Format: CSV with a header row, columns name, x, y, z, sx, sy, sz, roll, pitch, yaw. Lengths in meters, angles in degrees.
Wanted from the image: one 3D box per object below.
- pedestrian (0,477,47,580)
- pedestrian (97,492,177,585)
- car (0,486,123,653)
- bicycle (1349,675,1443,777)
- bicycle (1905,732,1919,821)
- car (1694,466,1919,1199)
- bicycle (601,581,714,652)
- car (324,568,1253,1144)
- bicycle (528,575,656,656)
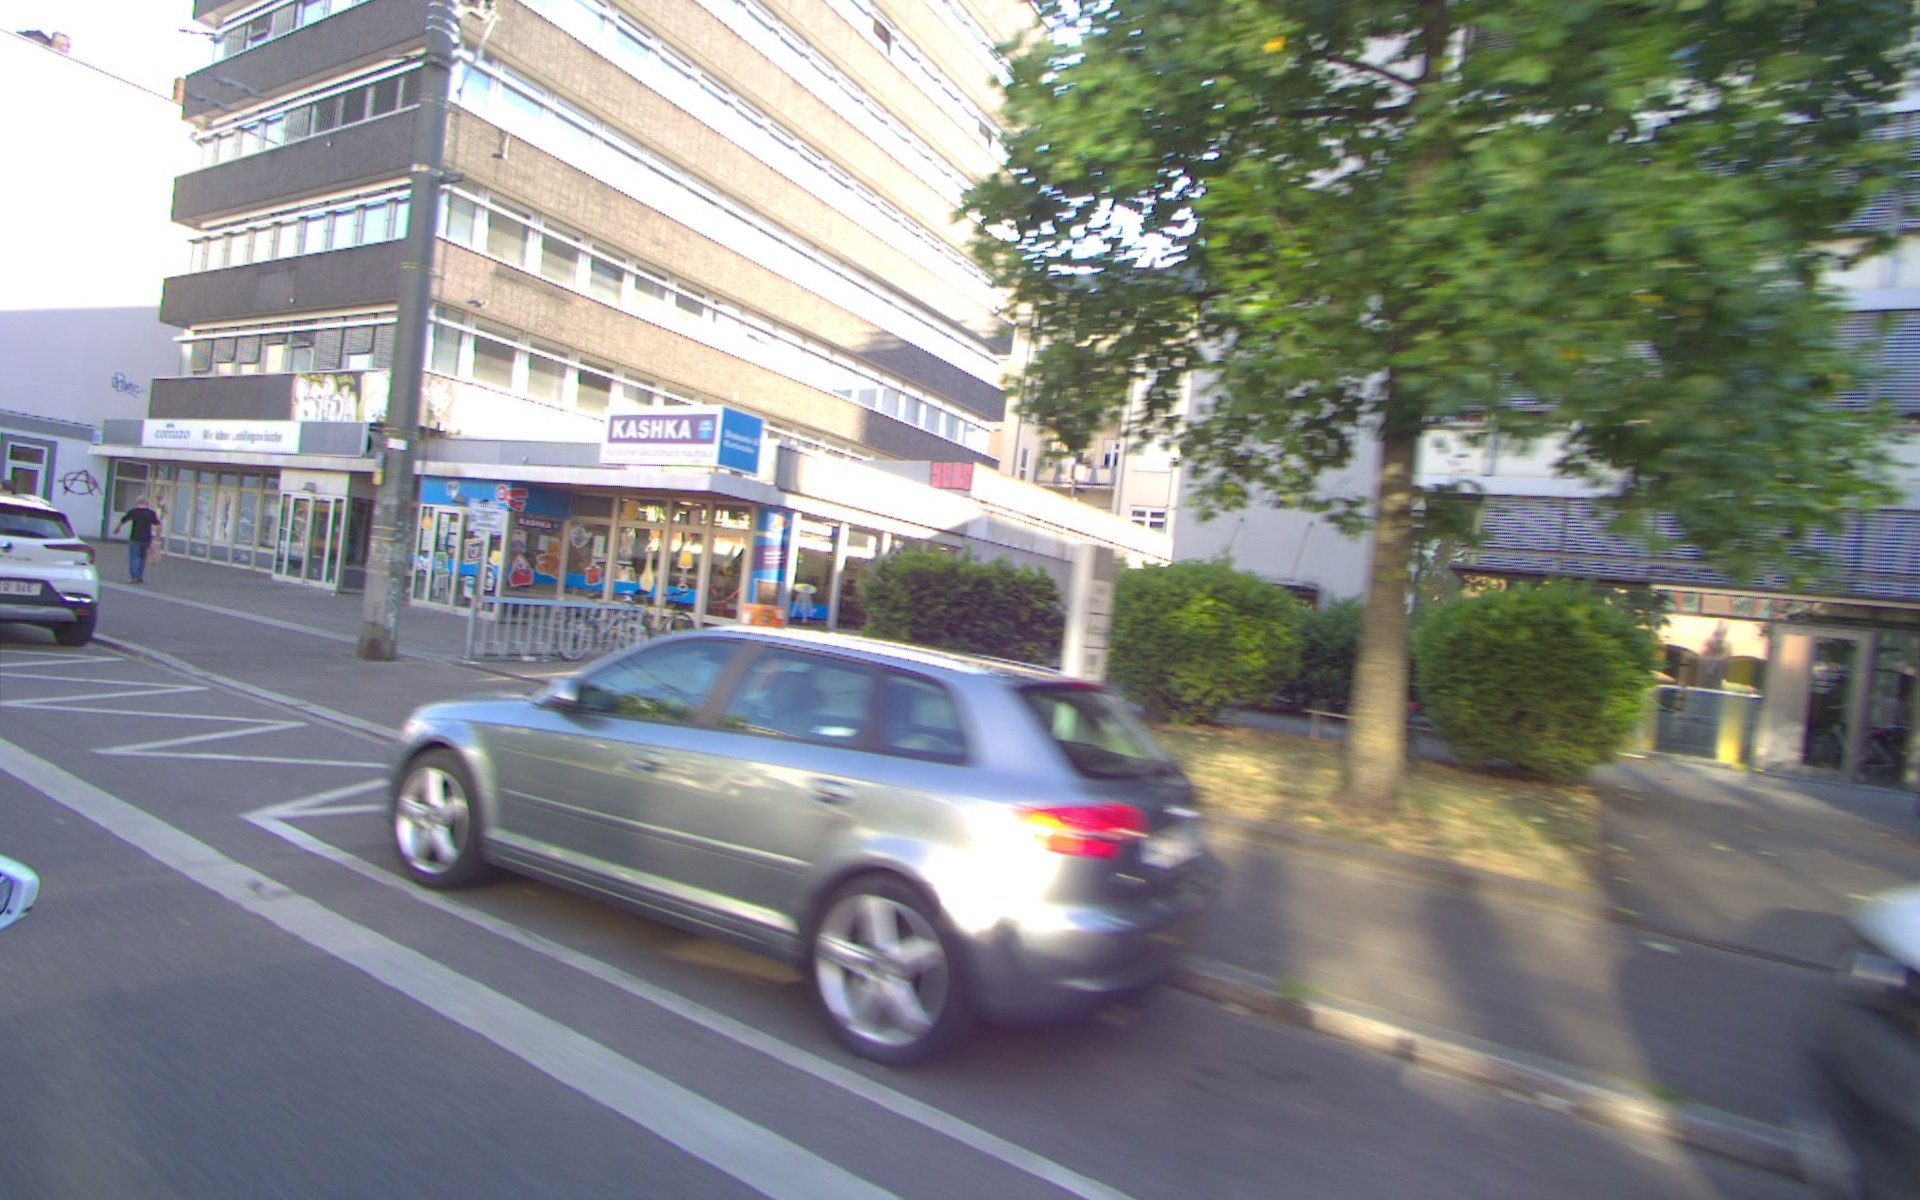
name,x,y,z,sx,sy,sz,roll,pitch,yaw
pedestrian,-17.398,-1.333,18.311,1.016,1.779,0.811,7,1,31
pedestrian,-16.536,-1.224,20.219,1.016,1.736,0.900,7,3,31
car,-11.284,-0.511,11.168,4.256,1.615,1.789,7,-1,33
bicycle,5.035,1.421,11.697,0.361,0.971,1.620,6,0,3
bicycle,11.240,2.040,11.586,0.363,0.971,1.243,7,0,40
car,4.290,1.076,1.508,4.824,2.045,1.880,7,-1,32
bicycle,-5.253,0.303,17.633,0.626,1.110,2.018,7,1,25
car,-0.955,0.806,4.754,4.097,1.420,1.678,6,-2,31
bicycle,-5.584,0.262,15.382,0.461,1.109,1.884,6,0,30
